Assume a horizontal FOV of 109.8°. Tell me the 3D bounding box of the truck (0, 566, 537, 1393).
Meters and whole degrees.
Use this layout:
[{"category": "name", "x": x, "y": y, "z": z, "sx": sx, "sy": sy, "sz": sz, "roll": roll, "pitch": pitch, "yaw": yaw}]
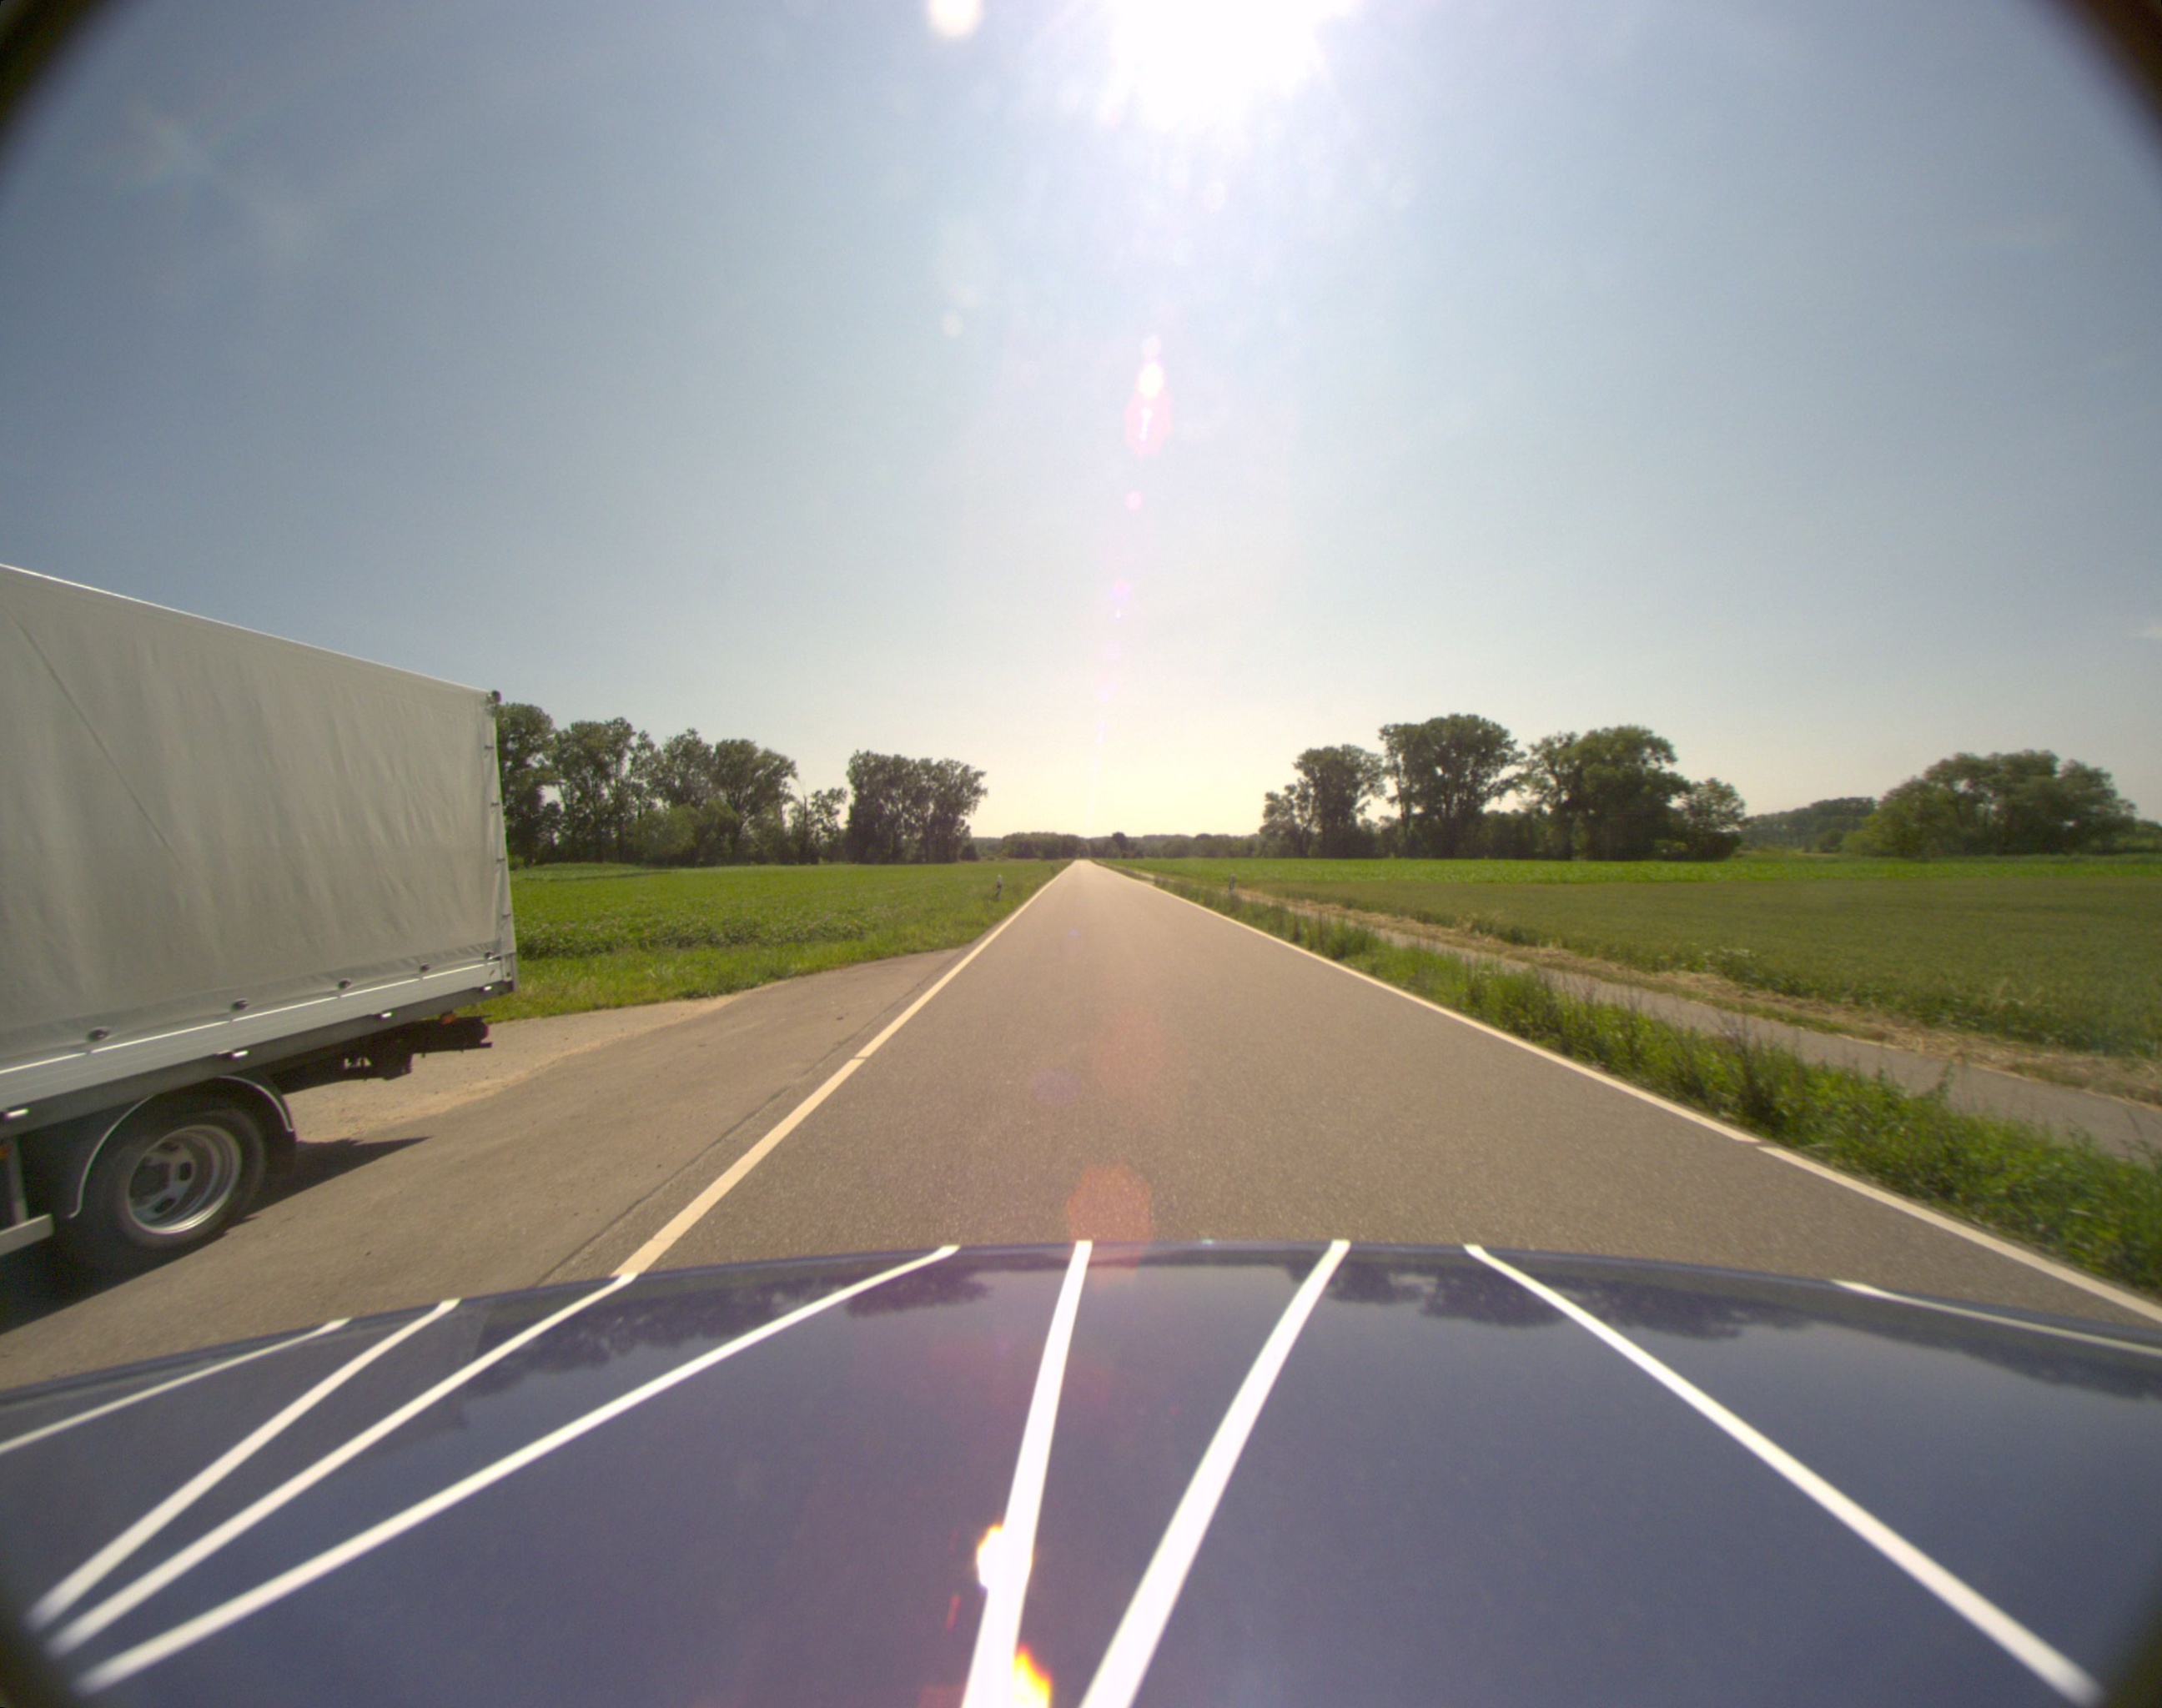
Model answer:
[{"category": "truck", "x": -4.980, "y": 0.492, "z": 1.796, "sx": 2.342, "sy": 2.925, "sz": 7.006, "roll": -4, "pitch": 1, "yaw": -2}]
